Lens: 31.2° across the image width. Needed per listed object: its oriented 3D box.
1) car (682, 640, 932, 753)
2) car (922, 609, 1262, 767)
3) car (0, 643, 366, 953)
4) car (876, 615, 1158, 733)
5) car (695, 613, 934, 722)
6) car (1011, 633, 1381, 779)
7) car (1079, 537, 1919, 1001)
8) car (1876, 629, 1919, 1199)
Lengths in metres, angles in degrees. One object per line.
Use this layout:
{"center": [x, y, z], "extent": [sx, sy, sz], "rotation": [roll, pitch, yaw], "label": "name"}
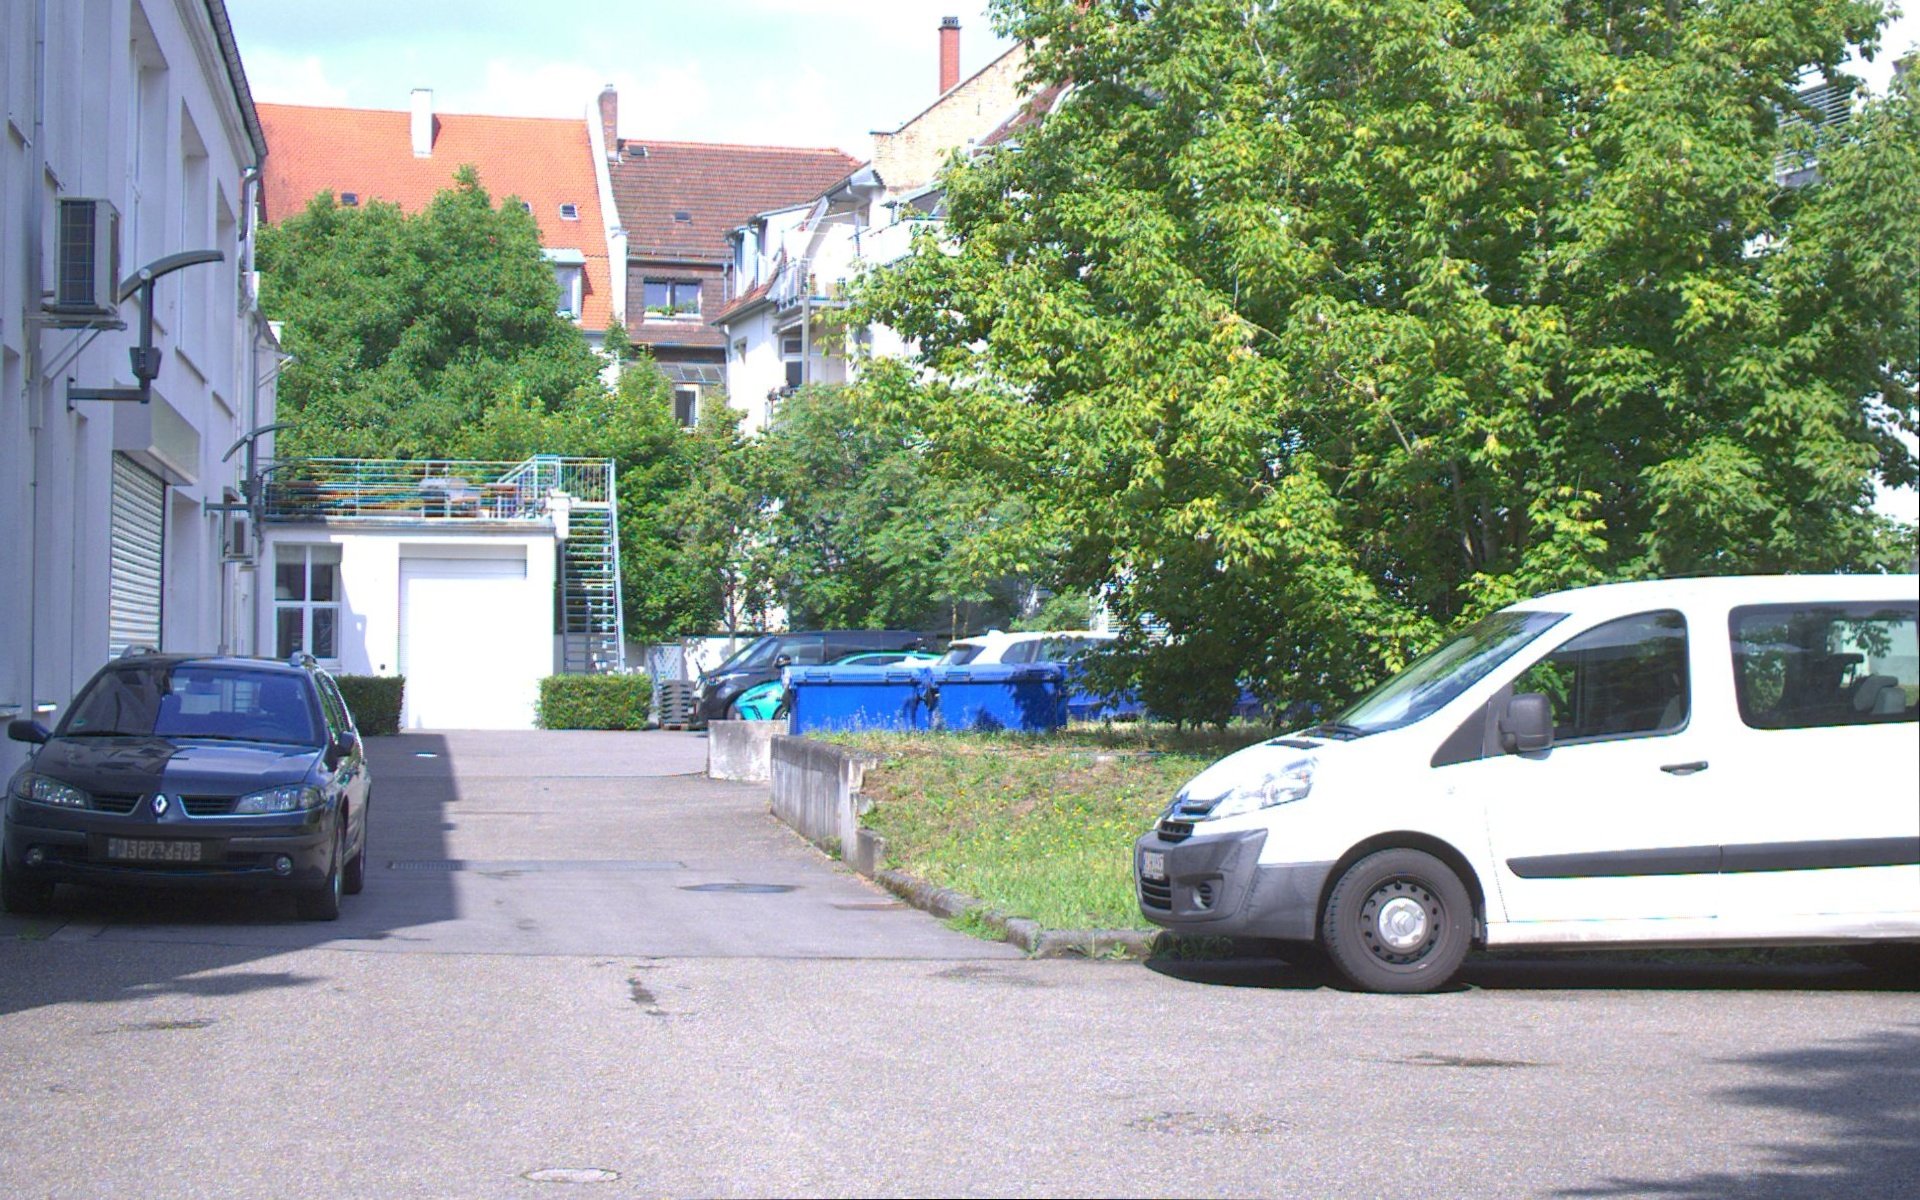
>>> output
{"center": [-2.611, 1.627, 58.566], "extent": [3.986, 1.568, 1.630], "rotation": [-2, 5, -14], "label": "car"}
{"center": [1.685, 1.108, 44.434], "extent": [3.986, 1.739, 1.950], "rotation": [-2, 4, -14], "label": "car"}
{"center": [-4.370, 1.025, 19.551], "extent": [1.879, 1.437, 4.342], "rotation": [0, 1, -9], "label": "car"}
{"center": [0.857, 1.110, 52.268], "extent": [3.986, 1.439, 1.630], "rotation": [-3, 5, -14], "label": "car"}
{"center": [-2.606, 1.195, 61.365], "extent": [3.986, 1.810, 1.664], "rotation": [0, 3, -14], "label": "car"}
{"center": [2.839, 1.268, 41.676], "extent": [4.111, 1.600, 1.756], "rotation": [0, 3, -14], "label": "car"}
{"center": [3.182, 0.708, 16.294], "extent": [4.938, 1.958, 2.000], "rotation": [-1, 1, -7], "label": "car"}
{"center": [4.371, 0.752, 8.051], "extent": [3.903, 1.415, 1.759], "rotation": [-2, 3, -9], "label": "car"}
